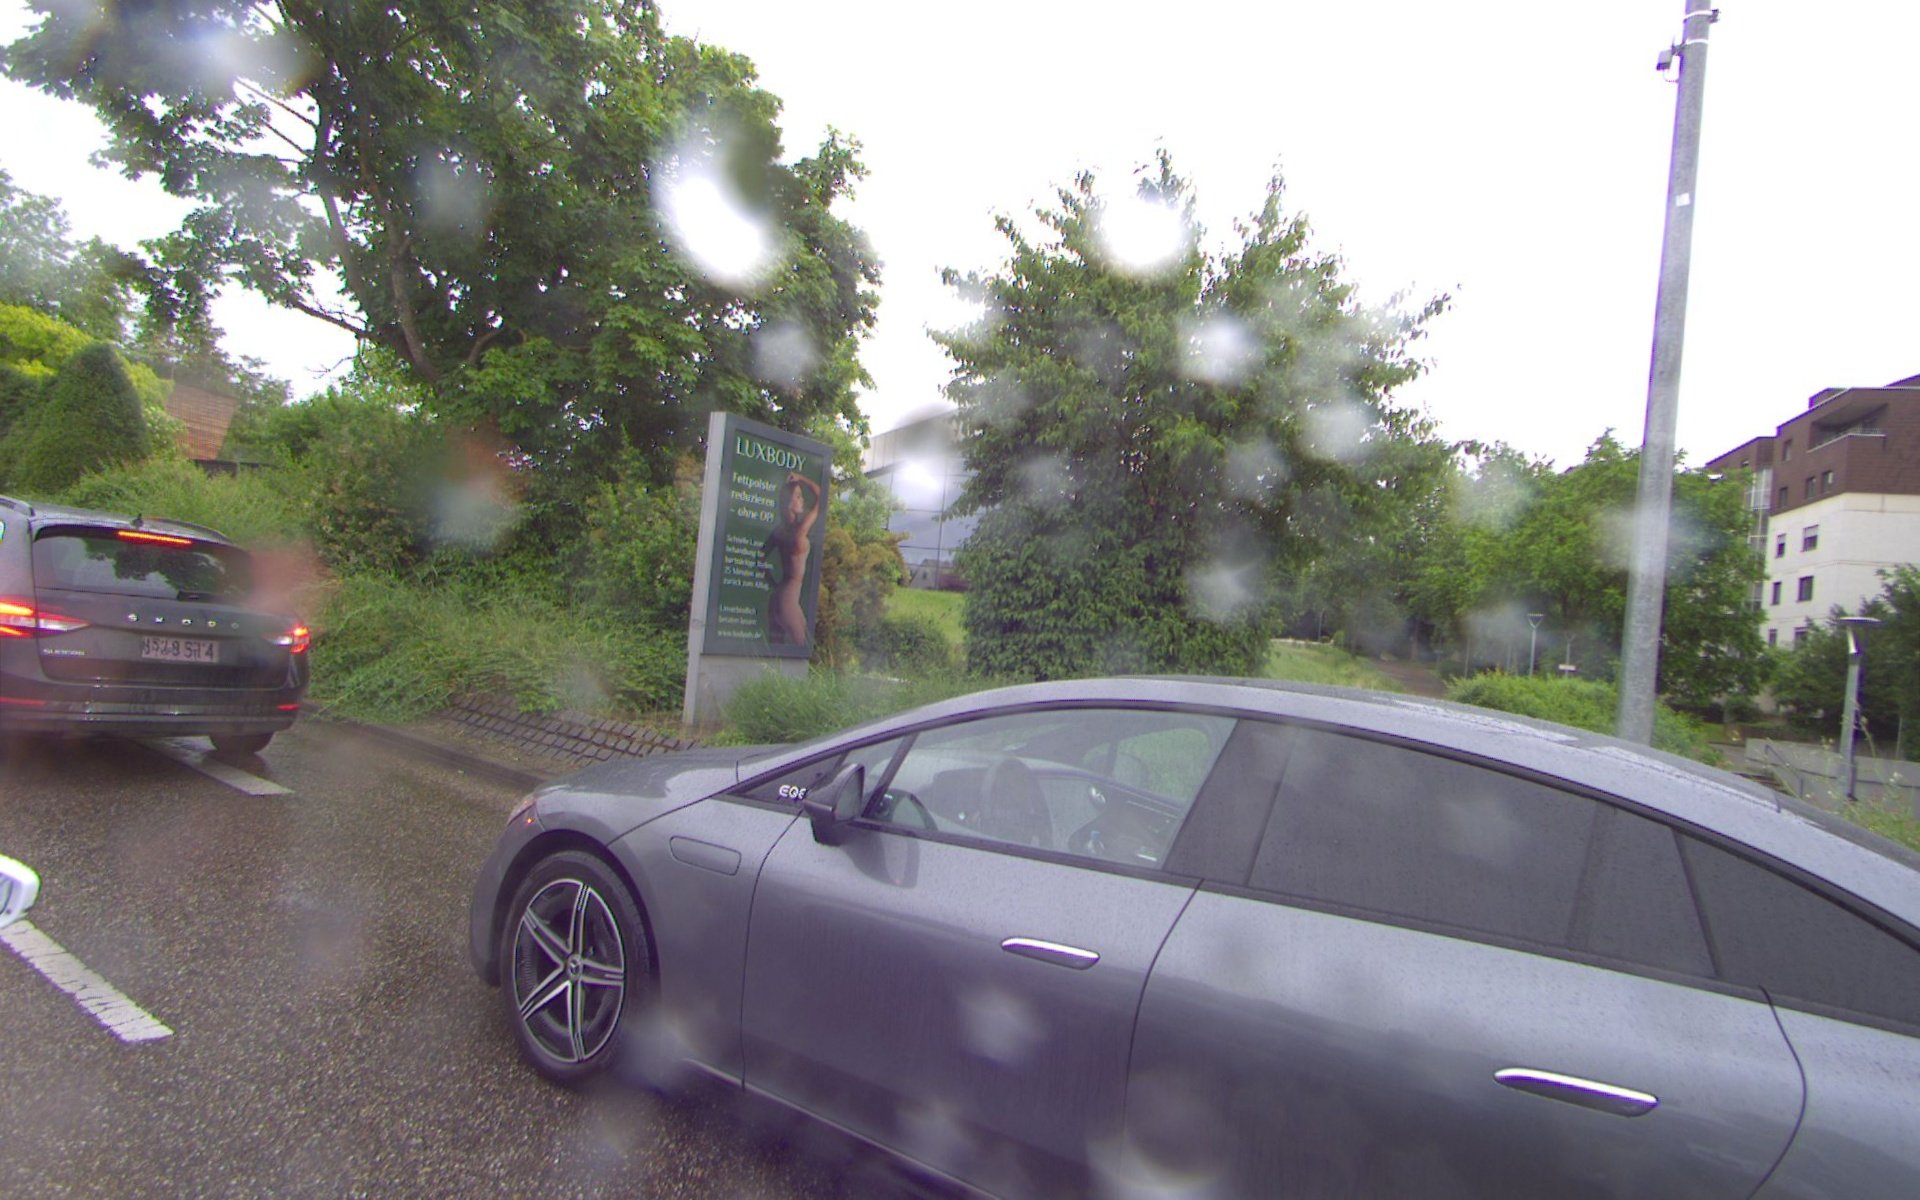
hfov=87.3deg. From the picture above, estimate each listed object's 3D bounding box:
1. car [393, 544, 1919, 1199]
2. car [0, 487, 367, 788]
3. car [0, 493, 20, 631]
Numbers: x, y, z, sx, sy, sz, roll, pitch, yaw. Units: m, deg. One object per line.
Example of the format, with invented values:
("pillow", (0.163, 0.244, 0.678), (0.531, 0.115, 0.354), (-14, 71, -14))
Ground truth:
("car", (0.688, 0.901, 2.907), (4.727, 1.483, 1.842), (7, -2, 31))
("car", (-6.120, 0.057, 6.765), (4.279, 1.483, 1.841), (7, -2, 33))
("car", (-12.193, -0.674, 10.865), (4.048, 1.483, 1.842), (7, -2, 31))
